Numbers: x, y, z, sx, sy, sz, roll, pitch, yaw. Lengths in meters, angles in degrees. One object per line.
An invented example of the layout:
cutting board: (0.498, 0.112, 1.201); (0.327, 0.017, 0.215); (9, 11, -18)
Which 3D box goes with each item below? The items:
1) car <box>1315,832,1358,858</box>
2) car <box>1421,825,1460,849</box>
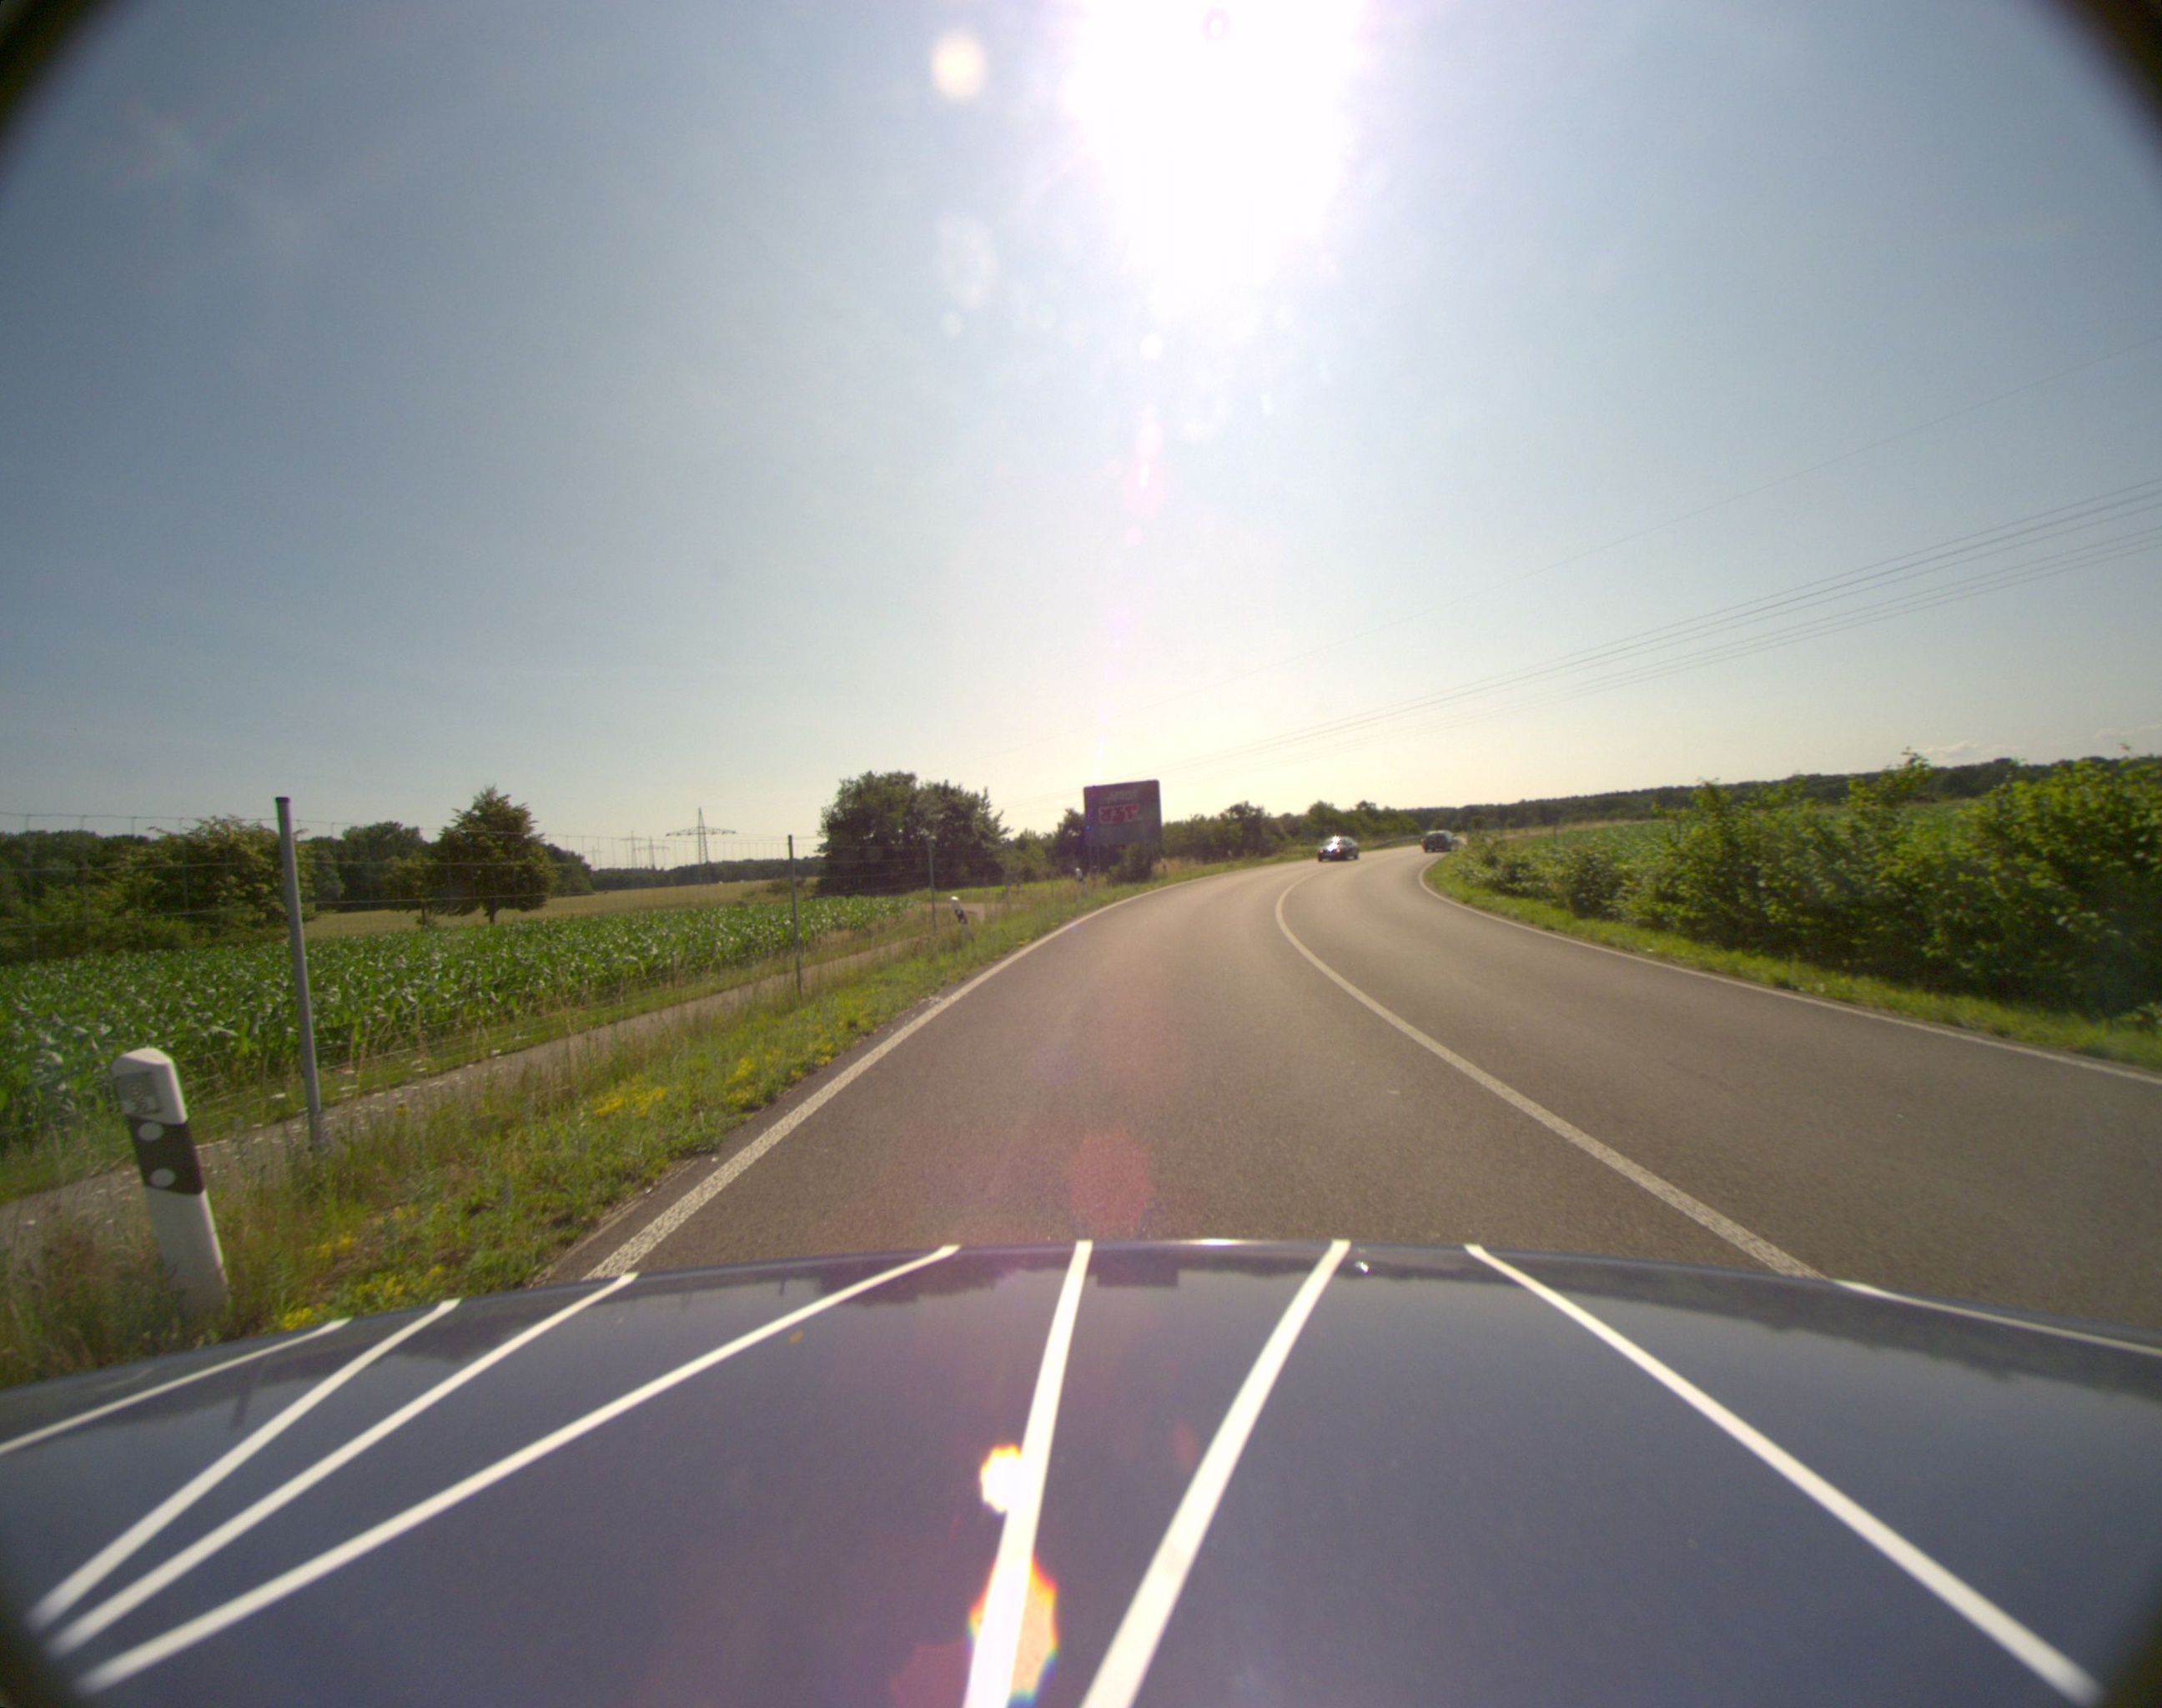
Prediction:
car: (15.781, -0.567, 46.822); (1.883, 1.448, 4.082); (-2, 1, 28)
car: (25.660, -1.223, 54.123); (1.867, 1.472, 5.144); (-2, 2, 33)
